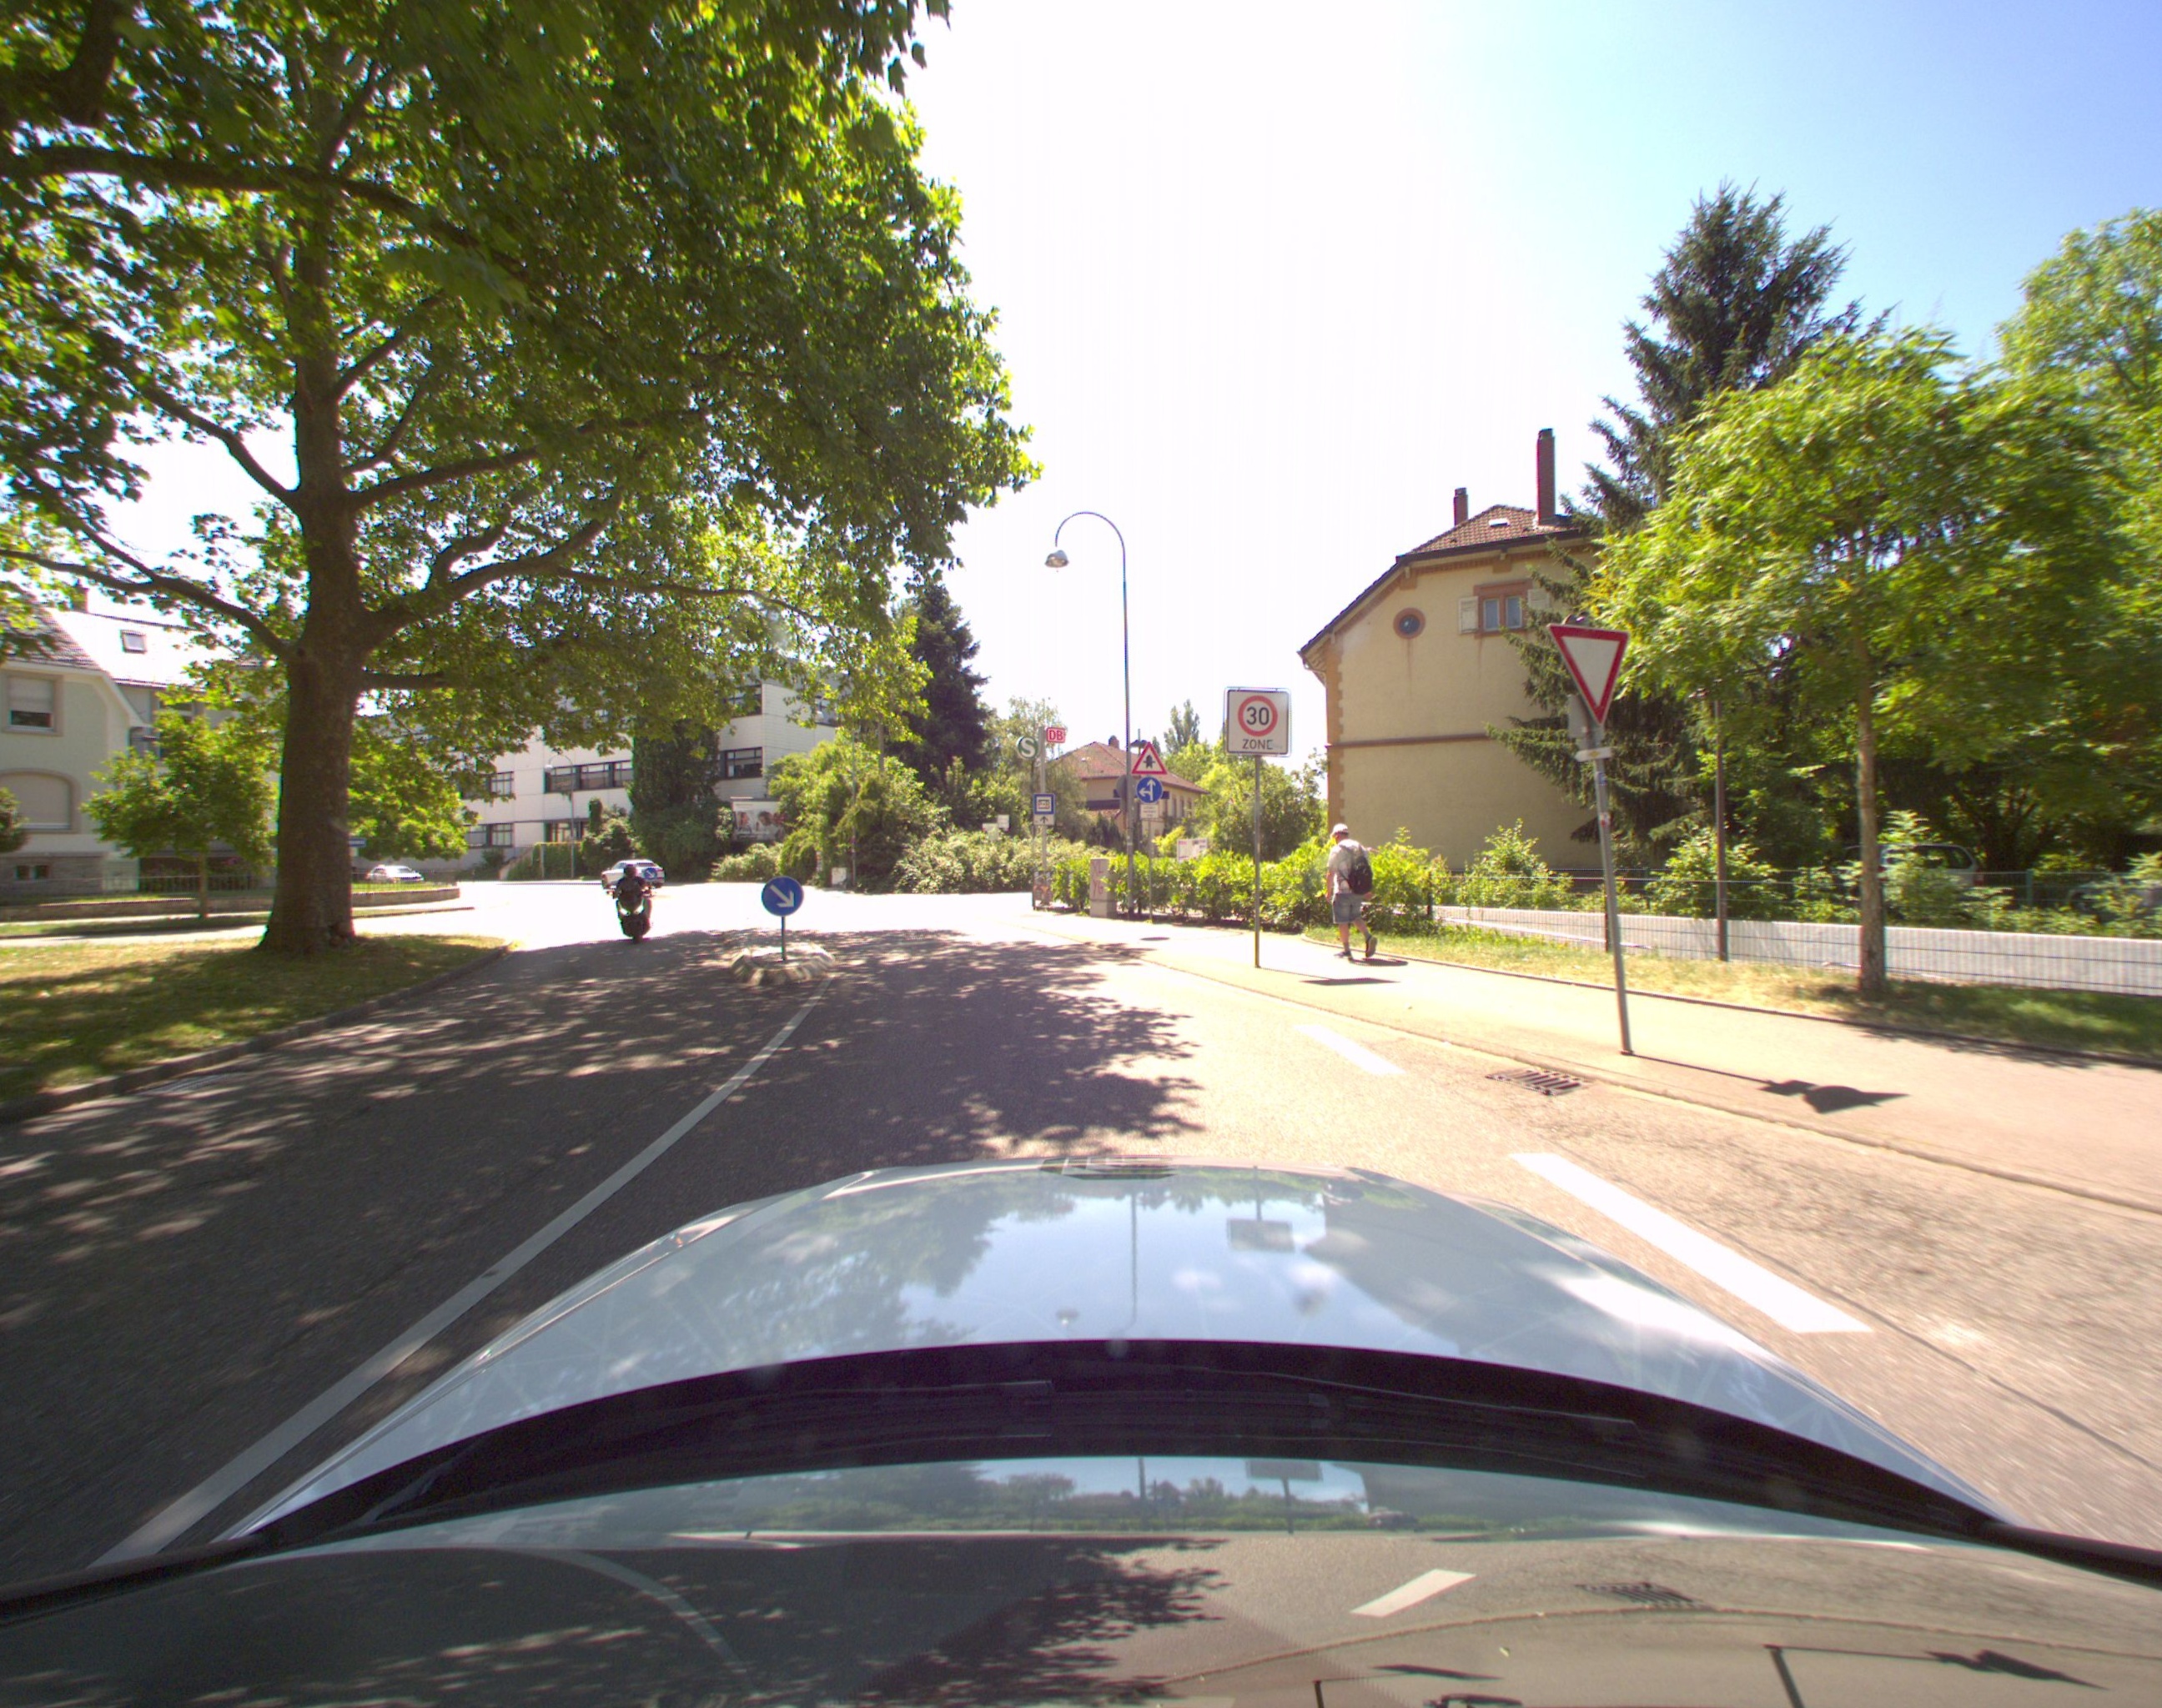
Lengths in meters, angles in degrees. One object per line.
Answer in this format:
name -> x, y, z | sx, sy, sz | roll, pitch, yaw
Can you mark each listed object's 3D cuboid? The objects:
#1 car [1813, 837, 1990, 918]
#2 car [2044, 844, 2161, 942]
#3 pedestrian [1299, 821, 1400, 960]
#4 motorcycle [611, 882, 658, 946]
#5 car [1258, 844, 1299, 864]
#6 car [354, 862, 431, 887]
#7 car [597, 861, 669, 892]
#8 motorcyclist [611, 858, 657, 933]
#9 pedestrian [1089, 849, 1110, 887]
car -> 17.490, 0.448, 17.589 | 1.634, 1.536, 3.994 | -1, 0, 29
car -> 17.650, 0.589, 12.656 | 1.748, 1.499, 4.526 | -1, 0, 25
pedestrian -> 3.614, 0.469, 11.015 | 0.913, 1.772, 0.911 | -1, 0, -15
motorcycle -> -9.596, 1.245, 17.456 | 0.812, 1.231, 2.031 | -1, 0, -30
car -> 23.621, -0.041, 97.362 | 4.402, 2.322, 2.215 | -1, 0, 28
car -> -47.222, 1.399, 55.866 | 4.258, 1.623, 1.886 | -1, 1, 15
car -> -25.827, 1.255, 46.889 | 4.414, 1.614, 1.955 | 0, 0, 37
motorcyclist -> -9.652, 0.867, 17.558 | 0.812, 1.555, 1.093 | -1, 0, -31
pedestrian -> 0.790, 0.597, 35.153 | 0.619, 1.627, 0.693 | -1, 1, -32
